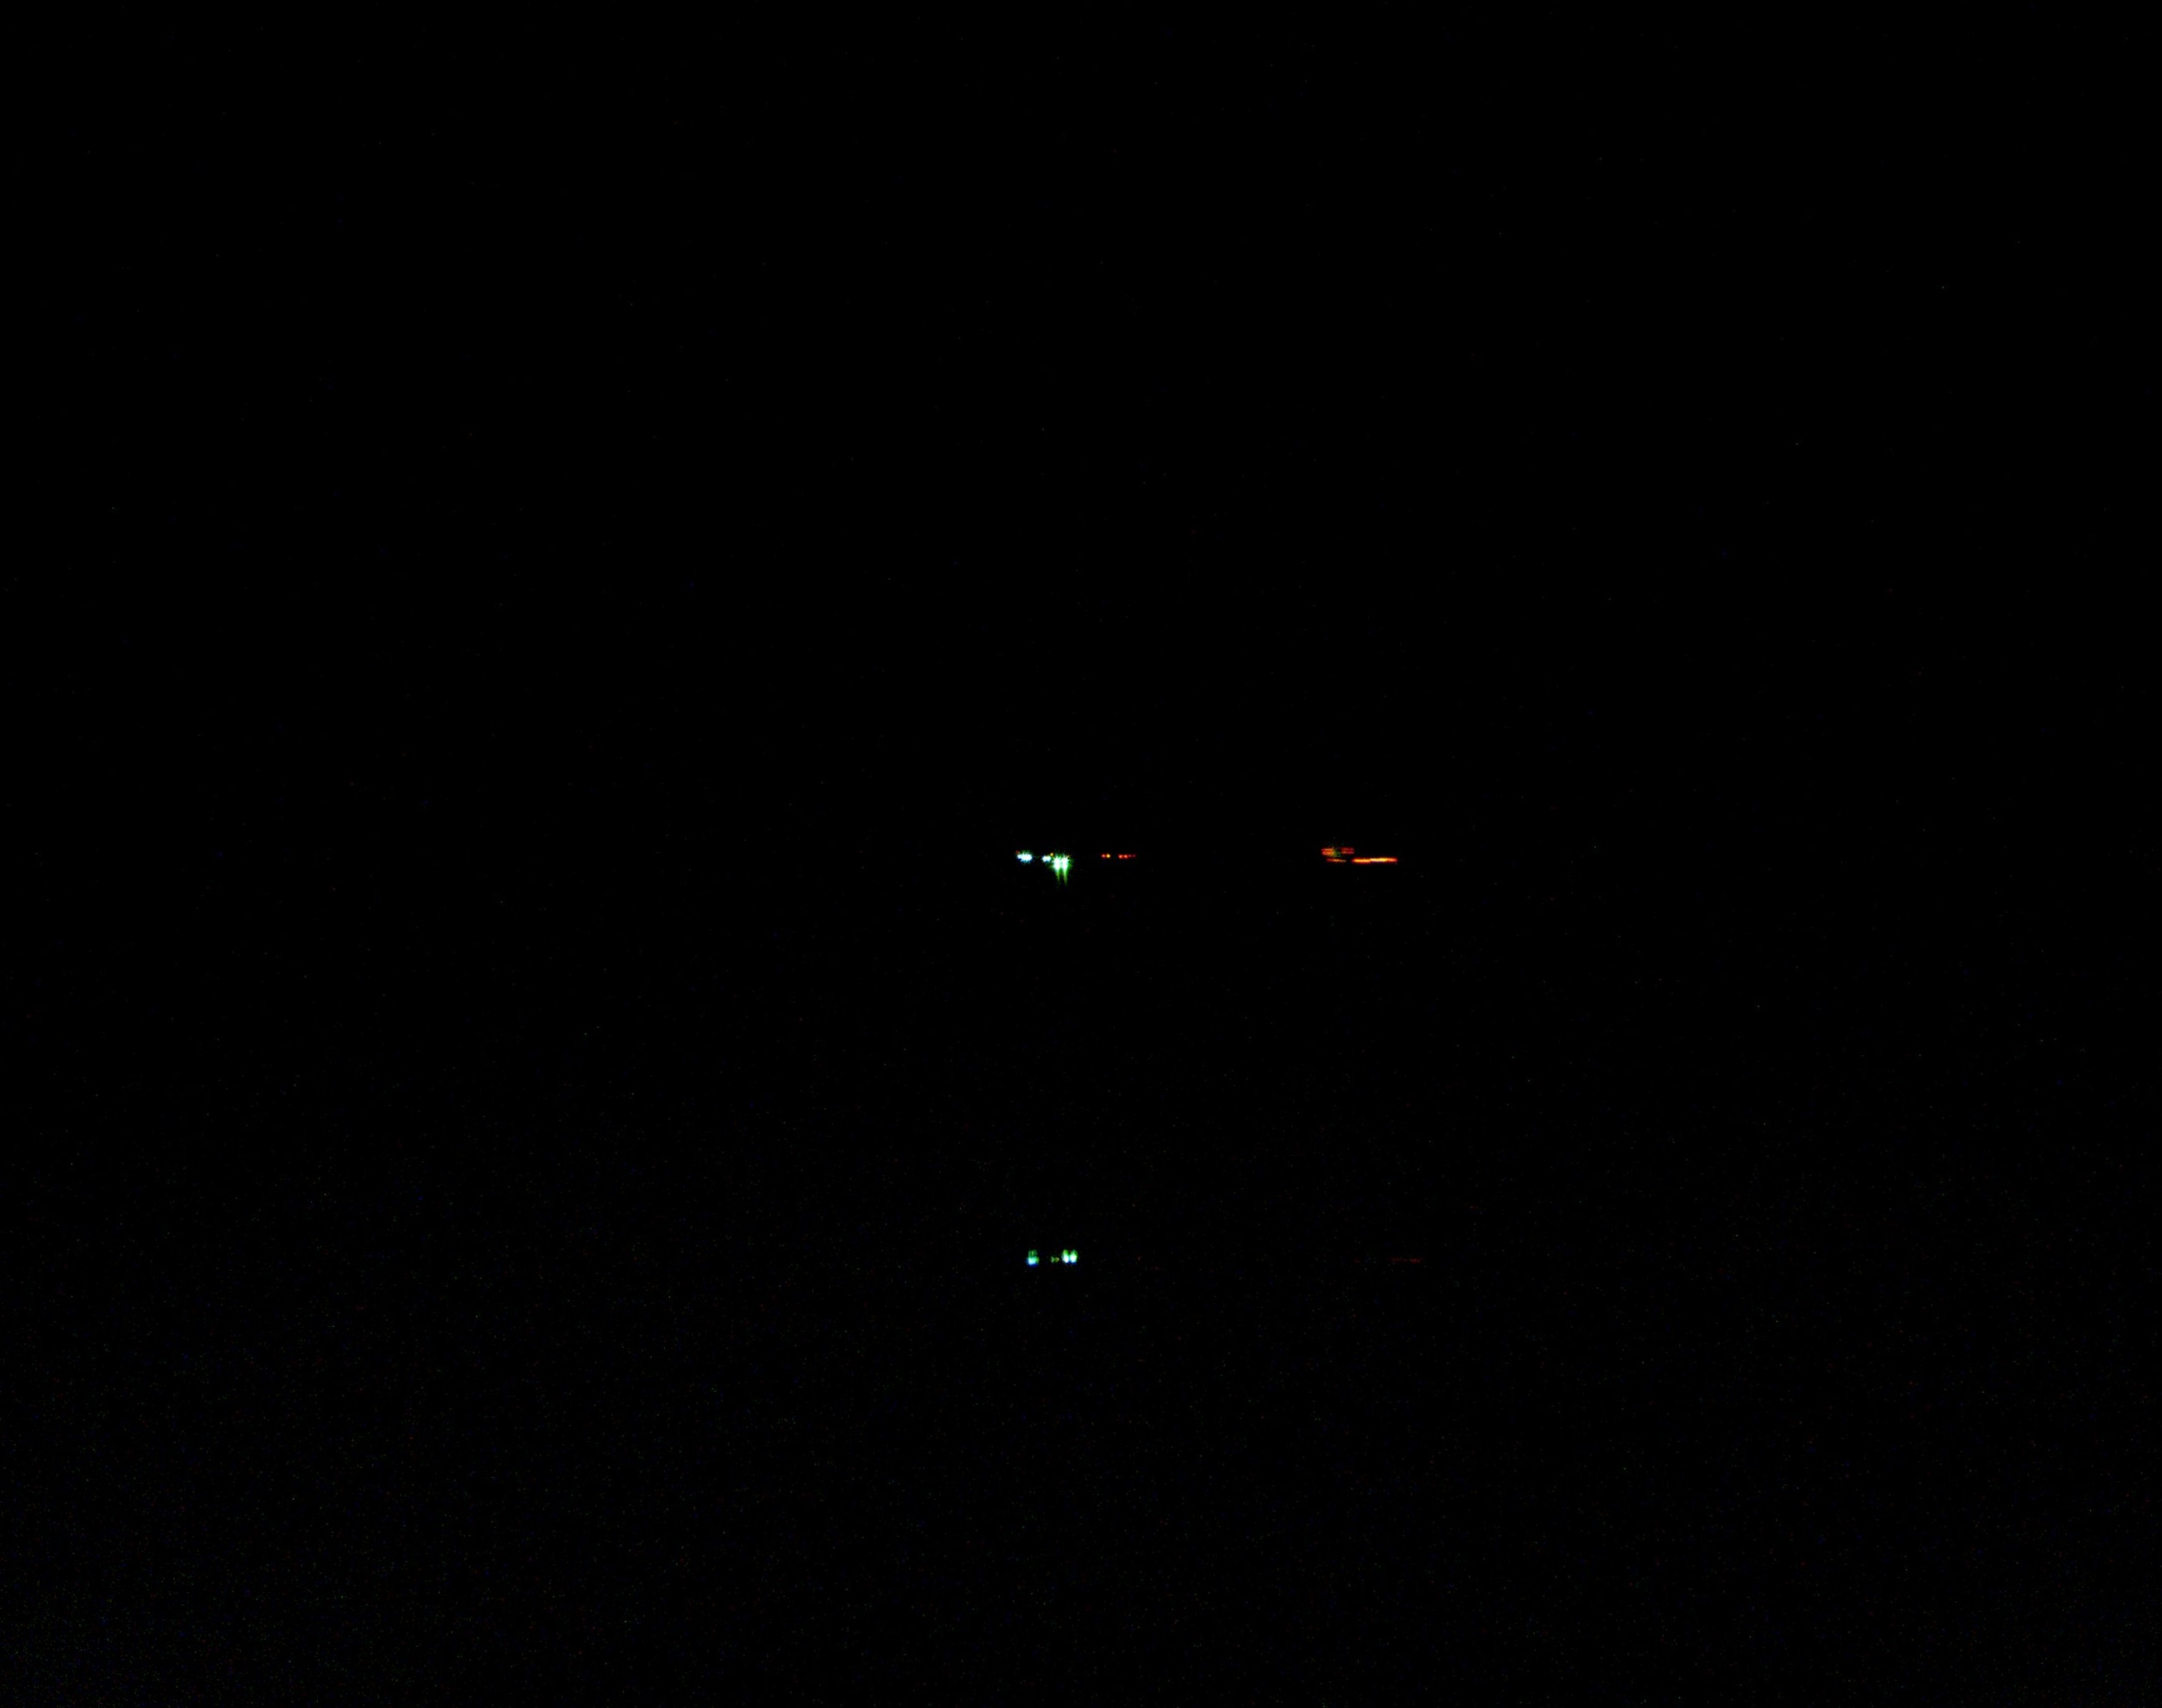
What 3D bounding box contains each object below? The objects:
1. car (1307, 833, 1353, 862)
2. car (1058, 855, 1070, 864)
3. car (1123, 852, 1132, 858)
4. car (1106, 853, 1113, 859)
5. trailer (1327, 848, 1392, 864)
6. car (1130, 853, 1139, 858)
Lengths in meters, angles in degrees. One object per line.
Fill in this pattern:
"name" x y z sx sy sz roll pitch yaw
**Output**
"car" 22.890 -0.607 70.134 2.087 2.473 6.241 -2 1 0
"car" -3.154 0.933 139.453 2.154 1.558 4.580 -2 1 -2
"car" 12.353 0.276 202.122 1.999 1.471 4.928 -2 1 -3
"car" 9.088 0.611 245.833 1.999 1.780 4.679 -2 1 -1
"trailer" 22.925 0.135 62.991 2.421 1.098 8.075 -2 1 0
"car" 15.257 0.381 217.882 1.999 1.499 4.400 -2 1 -1
